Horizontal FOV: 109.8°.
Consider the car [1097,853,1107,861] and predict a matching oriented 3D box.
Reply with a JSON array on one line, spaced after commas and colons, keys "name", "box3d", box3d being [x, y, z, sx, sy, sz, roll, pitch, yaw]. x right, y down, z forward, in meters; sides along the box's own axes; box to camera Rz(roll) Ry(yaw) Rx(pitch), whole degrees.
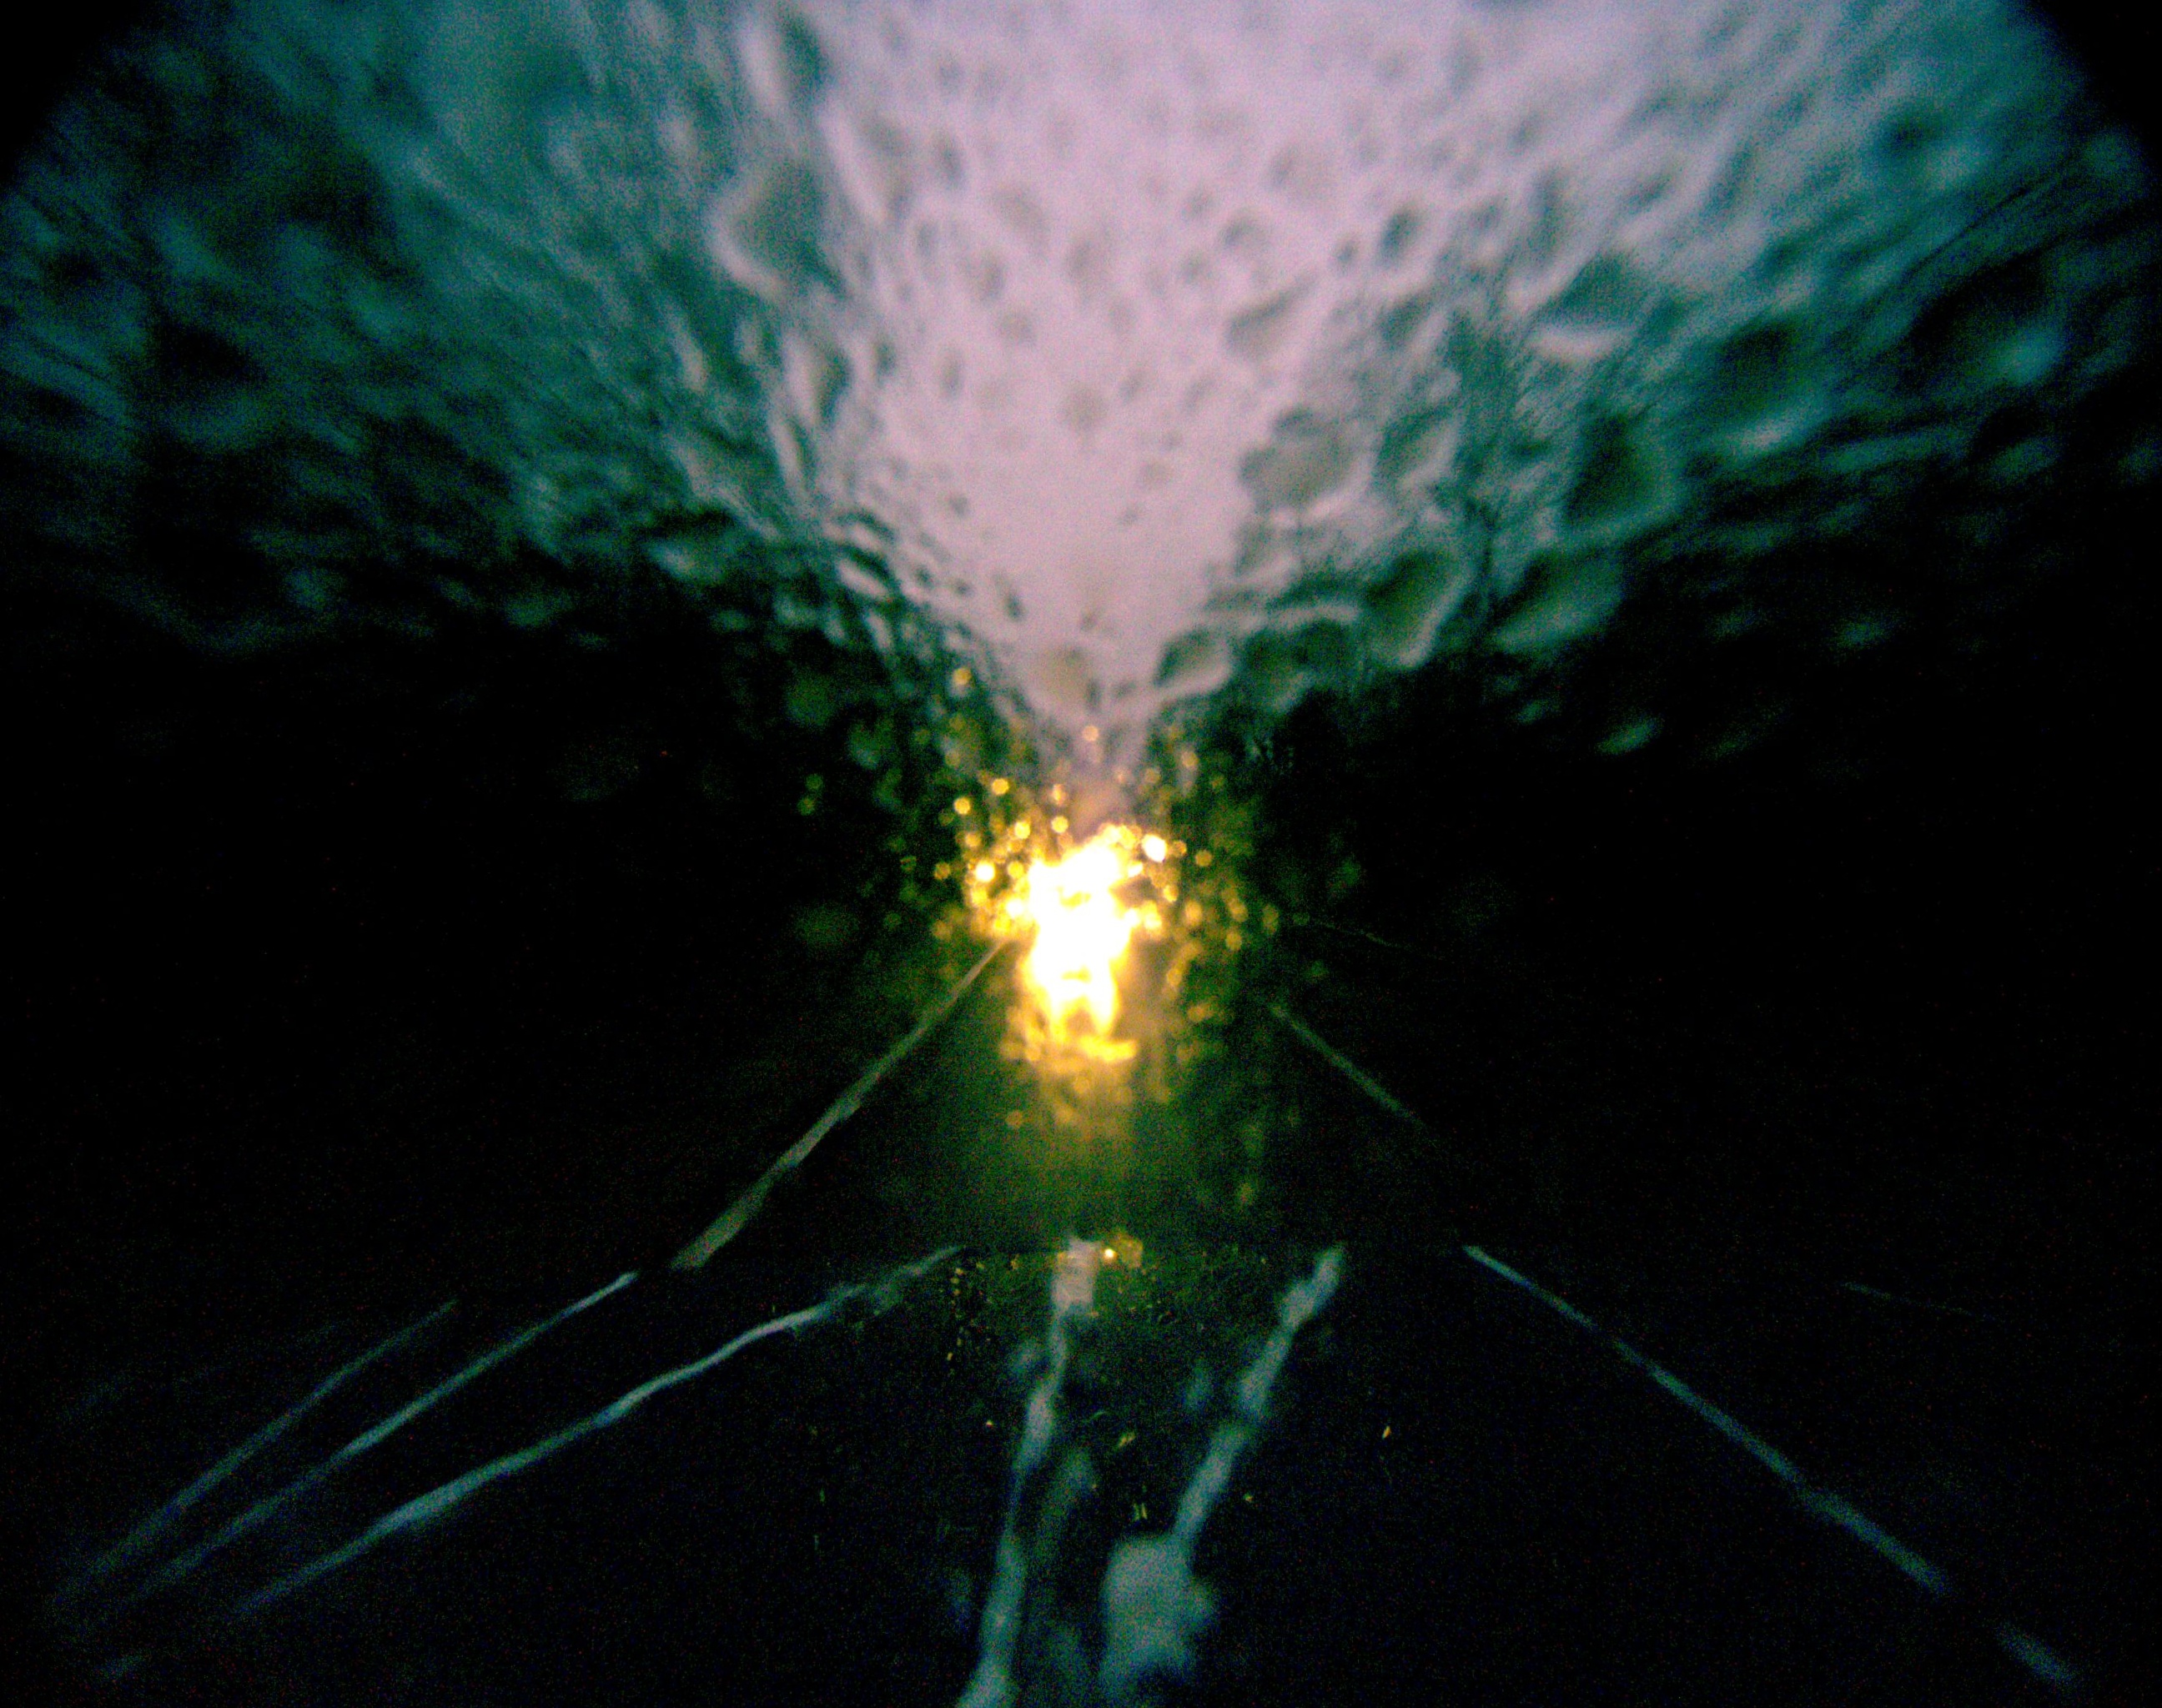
[{"name": "car", "box3d": [4.533, 0.625, 162.102, 1.998, 1.652, 4.570, -2, 1, 1]}]

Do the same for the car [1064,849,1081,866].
[{"name": "car", "box3d": [-1.073, 0.388, 96.200, 1.998, 2.002, 3.999, -2, 1, 1]}]

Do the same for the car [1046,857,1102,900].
[{"name": "car", "box3d": [-0.185, 0.849, 27.615, 1.845, 1.390, 4.000, -1, 0, 2]}]

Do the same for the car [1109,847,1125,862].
[{"name": "car", "box3d": [4.956, 0.054, 105.381, 1.998, 2.002, 3.999, -2, 1, 1]}]
